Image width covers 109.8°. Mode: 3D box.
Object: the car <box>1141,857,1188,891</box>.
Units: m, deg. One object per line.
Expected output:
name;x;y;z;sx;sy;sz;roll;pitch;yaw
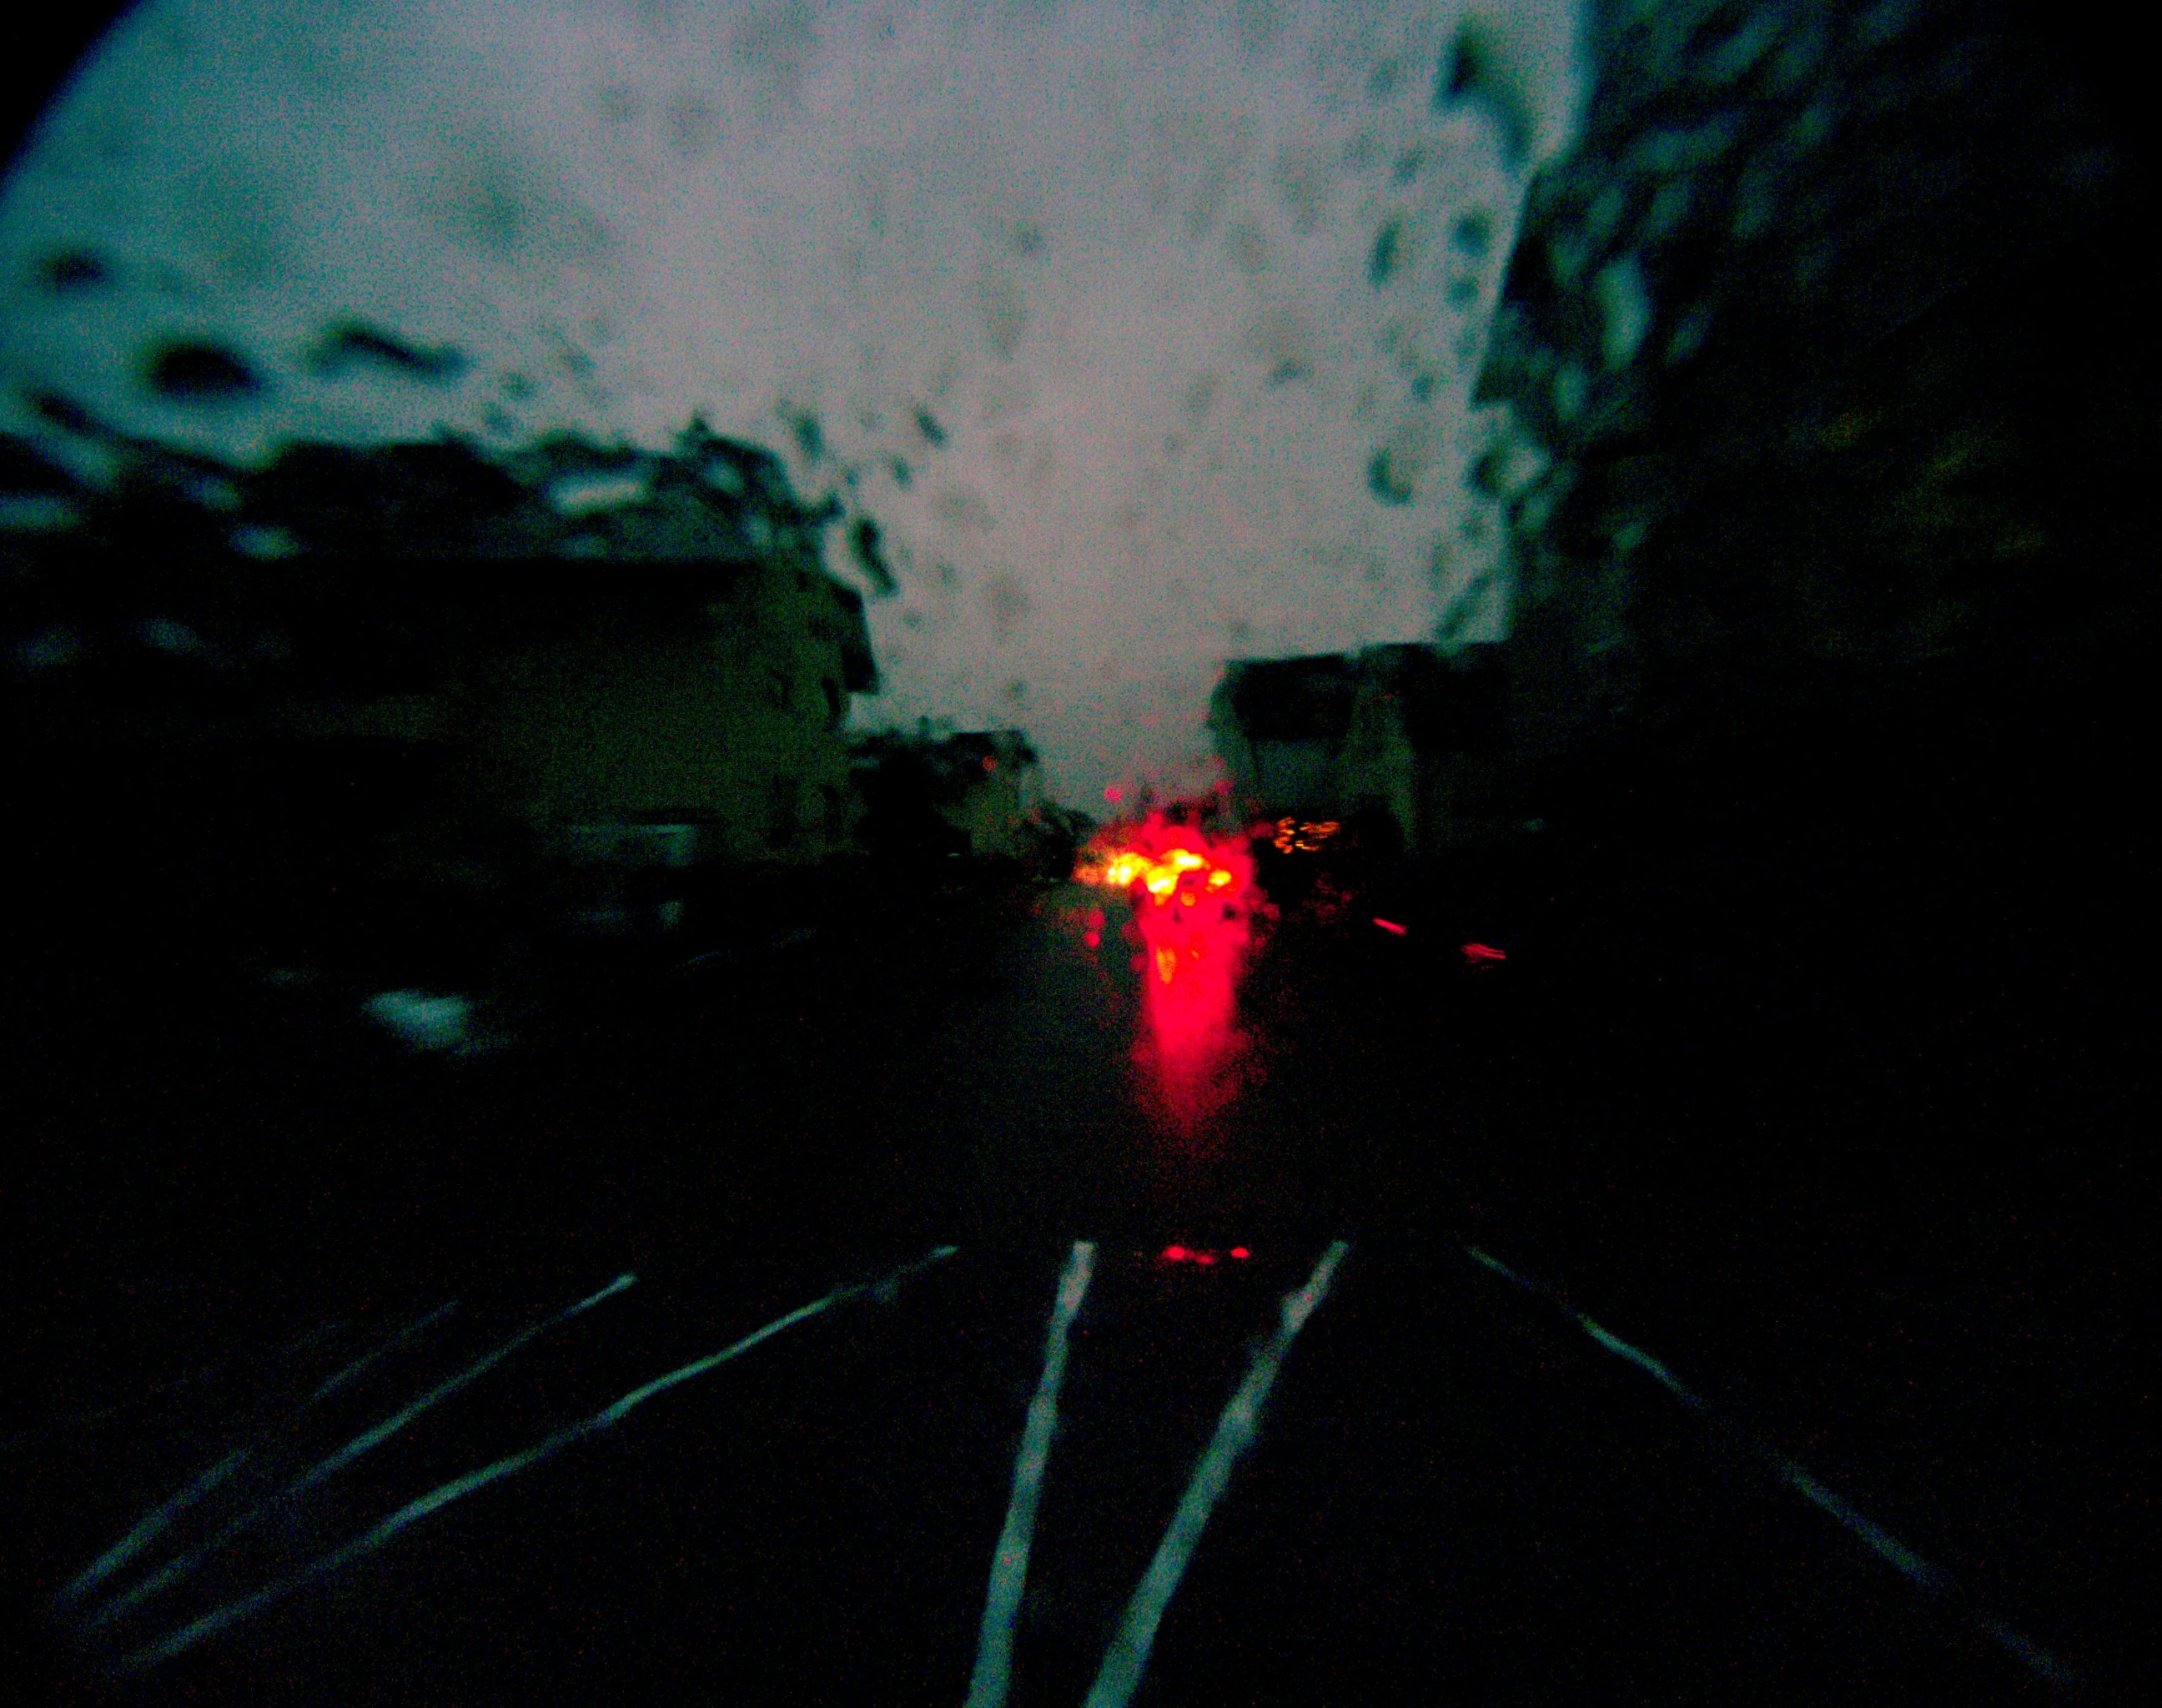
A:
car;4.143;0.984;38.352;1.923;1.614;4.423;0;0;1

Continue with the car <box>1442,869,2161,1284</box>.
car;4.042;0.833;4.696;1.672;1.401;3.913;-1;0;-1

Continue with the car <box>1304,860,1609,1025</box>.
car;4.018;0.836;8.873;1.669;1.409;3.690;-3;0;0

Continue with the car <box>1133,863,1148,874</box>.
car;7.886;1.875;100.673;1.720;1.403;3.731;0;0;1

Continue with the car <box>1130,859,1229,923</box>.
car;2.430;0.872;19.806;1.778;1.486;4.378;0;0;-4

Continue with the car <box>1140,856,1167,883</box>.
car;4.981;1.081;52.748;1.775;1.781;4.130;0;-1;4

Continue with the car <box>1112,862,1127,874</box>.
car;5.286;1.896;104.392;1.755;1.486;4.252;0;0;6

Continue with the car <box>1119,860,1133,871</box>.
car;7.353;1.924;124.169;1.793;1.763;3.892;0;0;9

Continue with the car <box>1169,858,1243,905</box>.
car;4.164;0.878;26.032;1.738;1.435;4.439;-1;0;-1
